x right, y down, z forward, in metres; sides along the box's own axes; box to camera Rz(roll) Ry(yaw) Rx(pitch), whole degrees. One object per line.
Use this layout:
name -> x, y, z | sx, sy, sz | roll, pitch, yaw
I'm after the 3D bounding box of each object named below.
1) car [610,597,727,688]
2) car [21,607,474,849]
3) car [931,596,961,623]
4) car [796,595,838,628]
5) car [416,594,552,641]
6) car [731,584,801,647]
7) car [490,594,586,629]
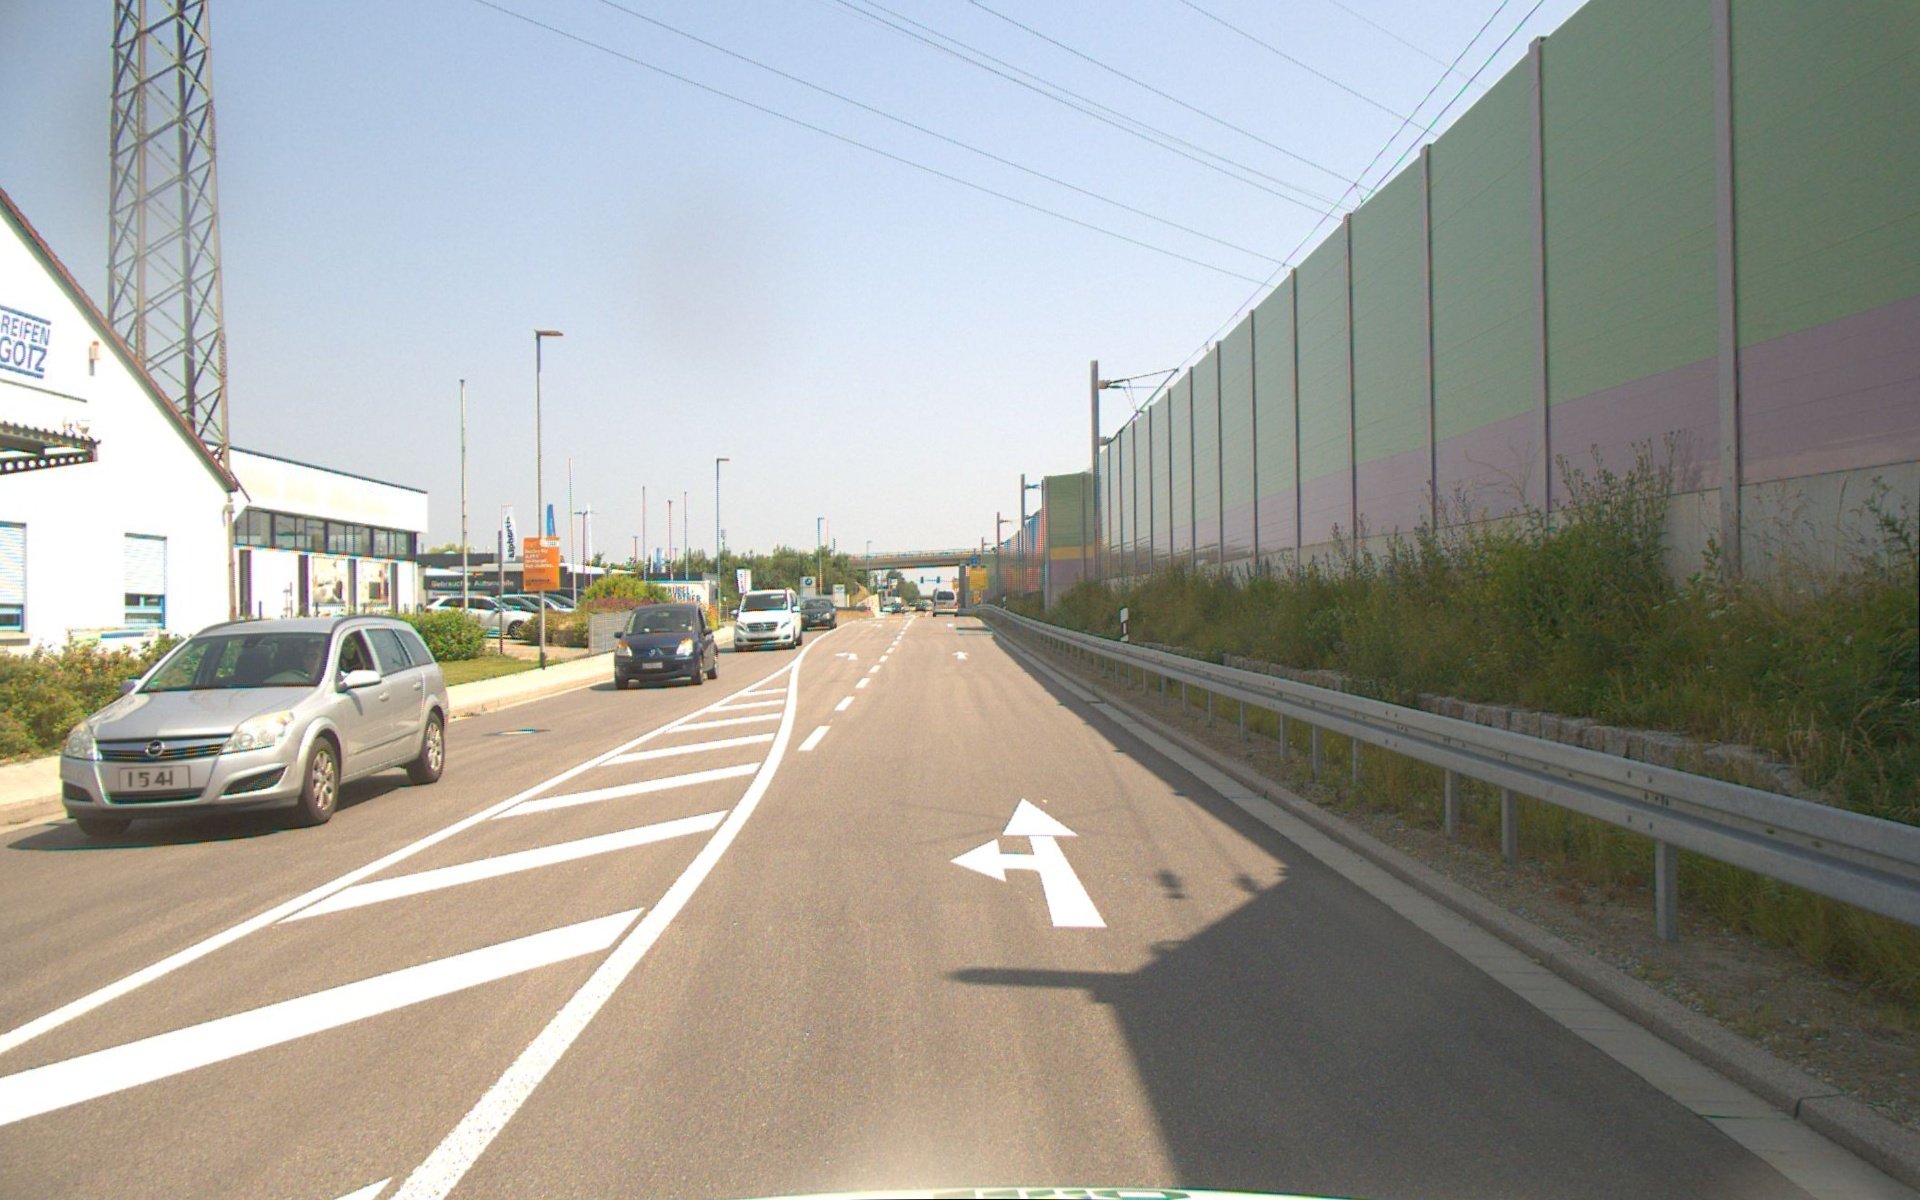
car -> -5.740, 0.801, 32.966 | 1.635, 1.628, 3.972 | -3, 0, -1
car -> -5.346, 0.858, 13.091 | 1.728, 1.491, 4.258 | -3, 0, -1
car -> -0.968, 0.653, 114.067 | 1.952, 1.788, 4.000 | -1, 0, 1
car -> -6.533, 0.504, 75.986 | 1.637, 1.448, 3.999 | -1, 0, -1
car -> -16.439, 0.593, 57.258 | 4.139, 1.481, 1.763 | 2, 0, -3
car -> -6.301, 0.491, 54.220 | 1.954, 1.907, 5.165 | -2, 0, -4
car -> -16.890, 0.453, 66.237 | 3.439, 1.276, 1.504 | 2, 0, -3
